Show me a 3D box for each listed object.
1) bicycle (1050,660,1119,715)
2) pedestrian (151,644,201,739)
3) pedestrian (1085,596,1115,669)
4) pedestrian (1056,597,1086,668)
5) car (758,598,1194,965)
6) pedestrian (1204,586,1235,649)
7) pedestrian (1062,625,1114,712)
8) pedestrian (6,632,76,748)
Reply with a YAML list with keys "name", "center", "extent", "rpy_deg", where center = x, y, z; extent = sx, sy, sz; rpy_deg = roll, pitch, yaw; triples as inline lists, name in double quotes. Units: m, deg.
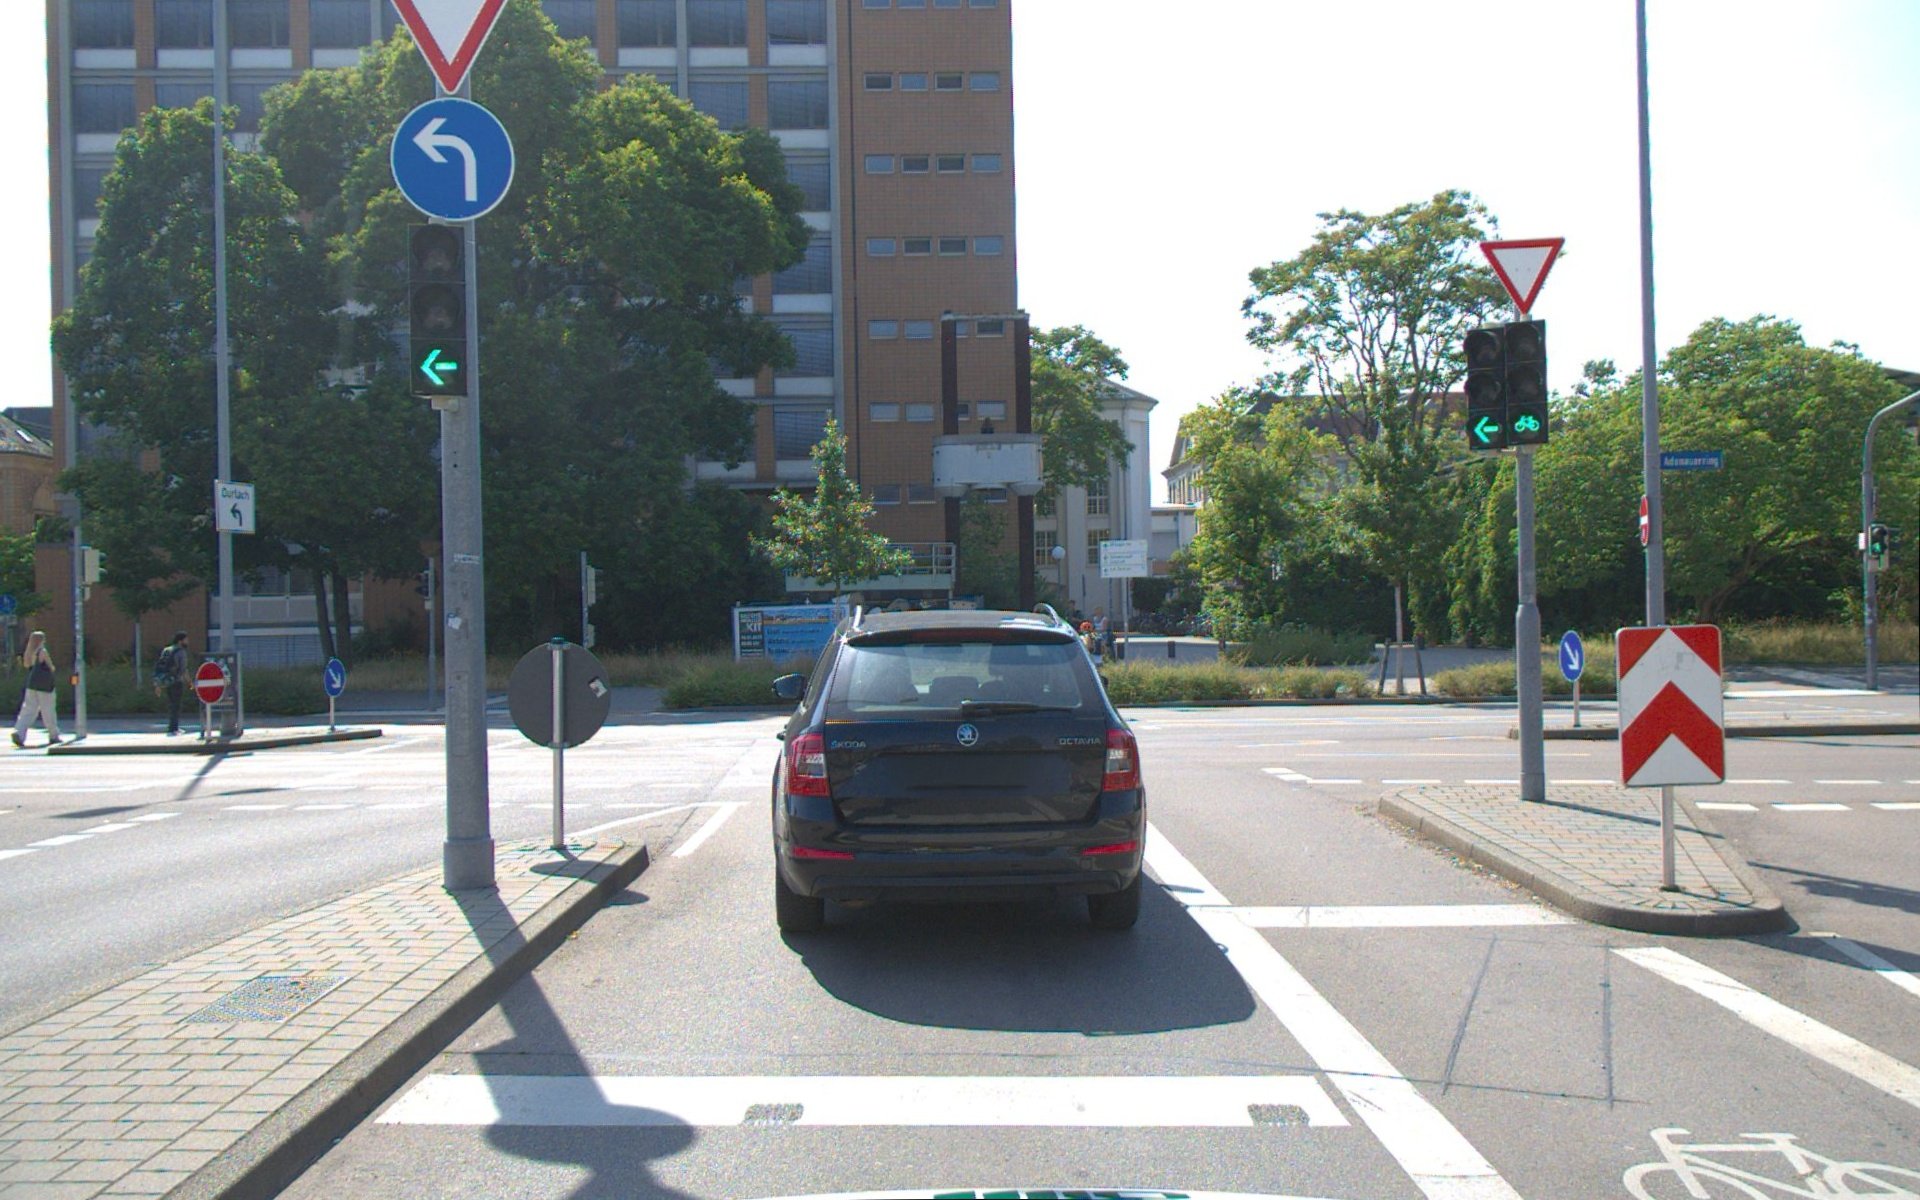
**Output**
- name: "bicycle"
  center: [2.183, 1.545, 29.291]
  extent: [0.586, 0.948, 2.019]
  rpy_deg: [0, -3, -15]
- name: "pedestrian"
  center: [-12.976, 1.499, 27.400]
  extent: [0.621, 1.518, 0.614]
  rpy_deg: [-2, 0, -17]
- name: "pedestrian"
  center: [3.718, 0.852, 44.060]
  extent: [0.624, 1.907, 0.796]
  rpy_deg: [-3, 0, -1]
- name: "pedestrian"
  center: [3.010, 0.871, 44.950]
  extent: [0.584, 1.907, 0.639]
  rpy_deg: [-2, -1, 22]
- name: "car"
  center: [0.056, 0.739, 8.553]
  extent: [1.743, 1.468, 3.817]
  rpy_deg: [0, 0, 0]
- name: "pedestrian"
  center: [8.018, 0.539, 51.140]
  extent: [0.777, 1.907, 0.639]
  rpy_deg: [-3, 0, 17]
- name: "pedestrian"
  center: [2.243, 1.184, 29.127]
  extent: [0.574, 1.492, 1.008]
  rpy_deg: [0, -1, -18]
- name: "pedestrian"
  center: [-14.628, 1.428, 26.350]
  extent: [0.724, 1.783, 1.105]
  rpy_deg: [-2, -3, -17]
